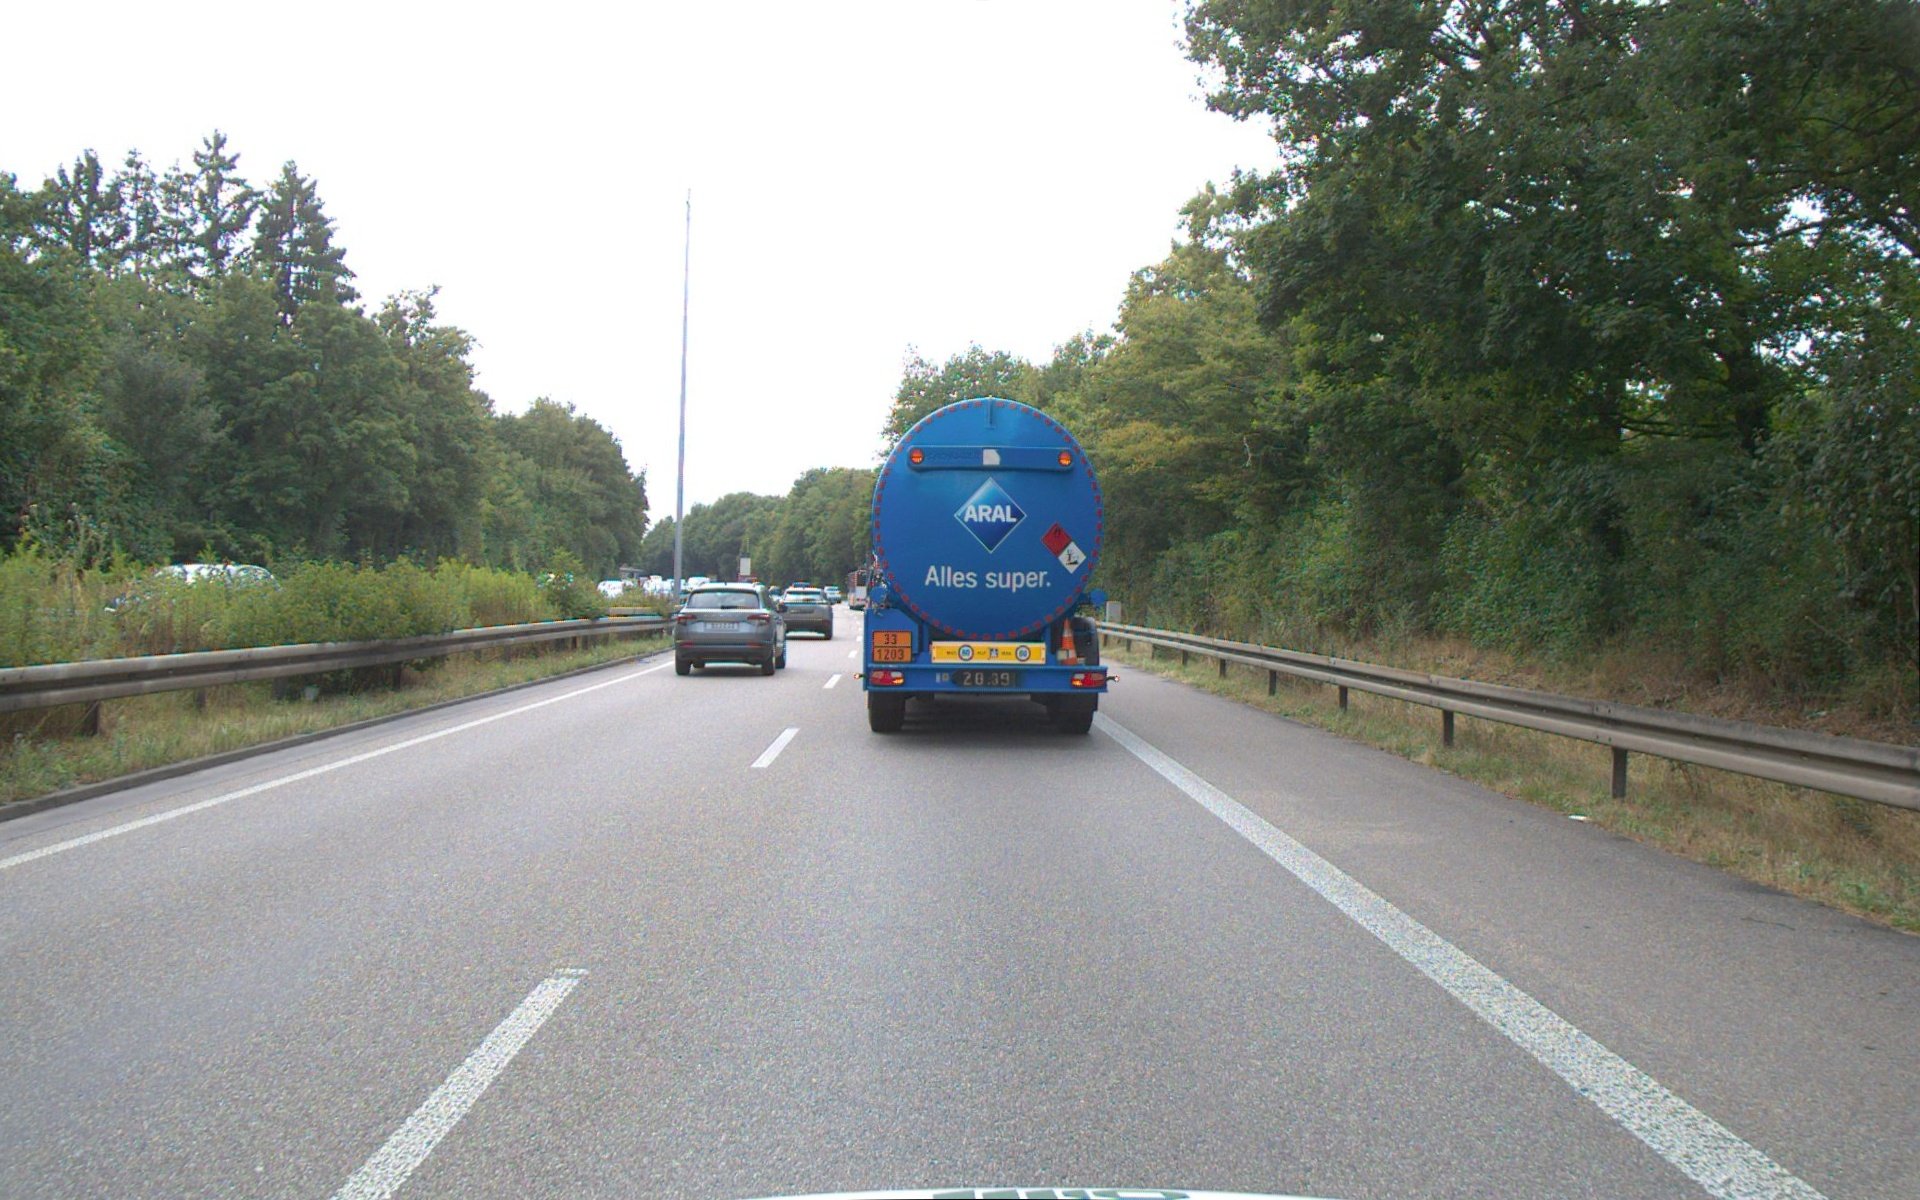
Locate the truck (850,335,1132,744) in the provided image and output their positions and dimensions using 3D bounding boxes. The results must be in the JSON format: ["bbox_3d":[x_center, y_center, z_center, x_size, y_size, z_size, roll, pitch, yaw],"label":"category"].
[{"bbox_3d":[0.203,-0.565,19.740,2.699,3.914,7.685,0,0,-2],"label":"truck"}]

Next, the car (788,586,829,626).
[{"bbox_3d":[-8.054,0.328,88.175,1.953,2.049,3.998,0,0,-2],"label":"car"}]

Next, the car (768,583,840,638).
[{"bbox_3d":[-4.771,0.319,51.143,1.789,1.638,4.167,0,0,0],"label":"car"}]

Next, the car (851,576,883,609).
[{"bbox_3d":[-6.650,-0.504,117.961,1.956,2.284,3.993,0,0,-7],"label":"car"}]

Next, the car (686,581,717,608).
[{"bbox_3d":[-18.395,-0.398,118.025,1.756,1.868,4.953,0,0,-4],"label":"car"}]

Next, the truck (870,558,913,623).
[{"bbox_3d":[-3.420,-0.429,84.360,1.953,3.147,7.813,0,0,-1],"label":"truck"}]

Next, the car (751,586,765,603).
[{"bbox_3d":[-28.068,-0.789,229.786,1.955,2.284,3.994,0,0,-7],"label":"car"}]

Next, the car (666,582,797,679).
[{"bbox_3d":[-4.087,0.532,30.174,1.789,1.638,4.167,0,0,0],"label":"car"}]

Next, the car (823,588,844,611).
[{"bbox_3d":[-12.730,-0.027,166.058,1.956,2.284,3.993,0,0,-7],"label":"car"}]
